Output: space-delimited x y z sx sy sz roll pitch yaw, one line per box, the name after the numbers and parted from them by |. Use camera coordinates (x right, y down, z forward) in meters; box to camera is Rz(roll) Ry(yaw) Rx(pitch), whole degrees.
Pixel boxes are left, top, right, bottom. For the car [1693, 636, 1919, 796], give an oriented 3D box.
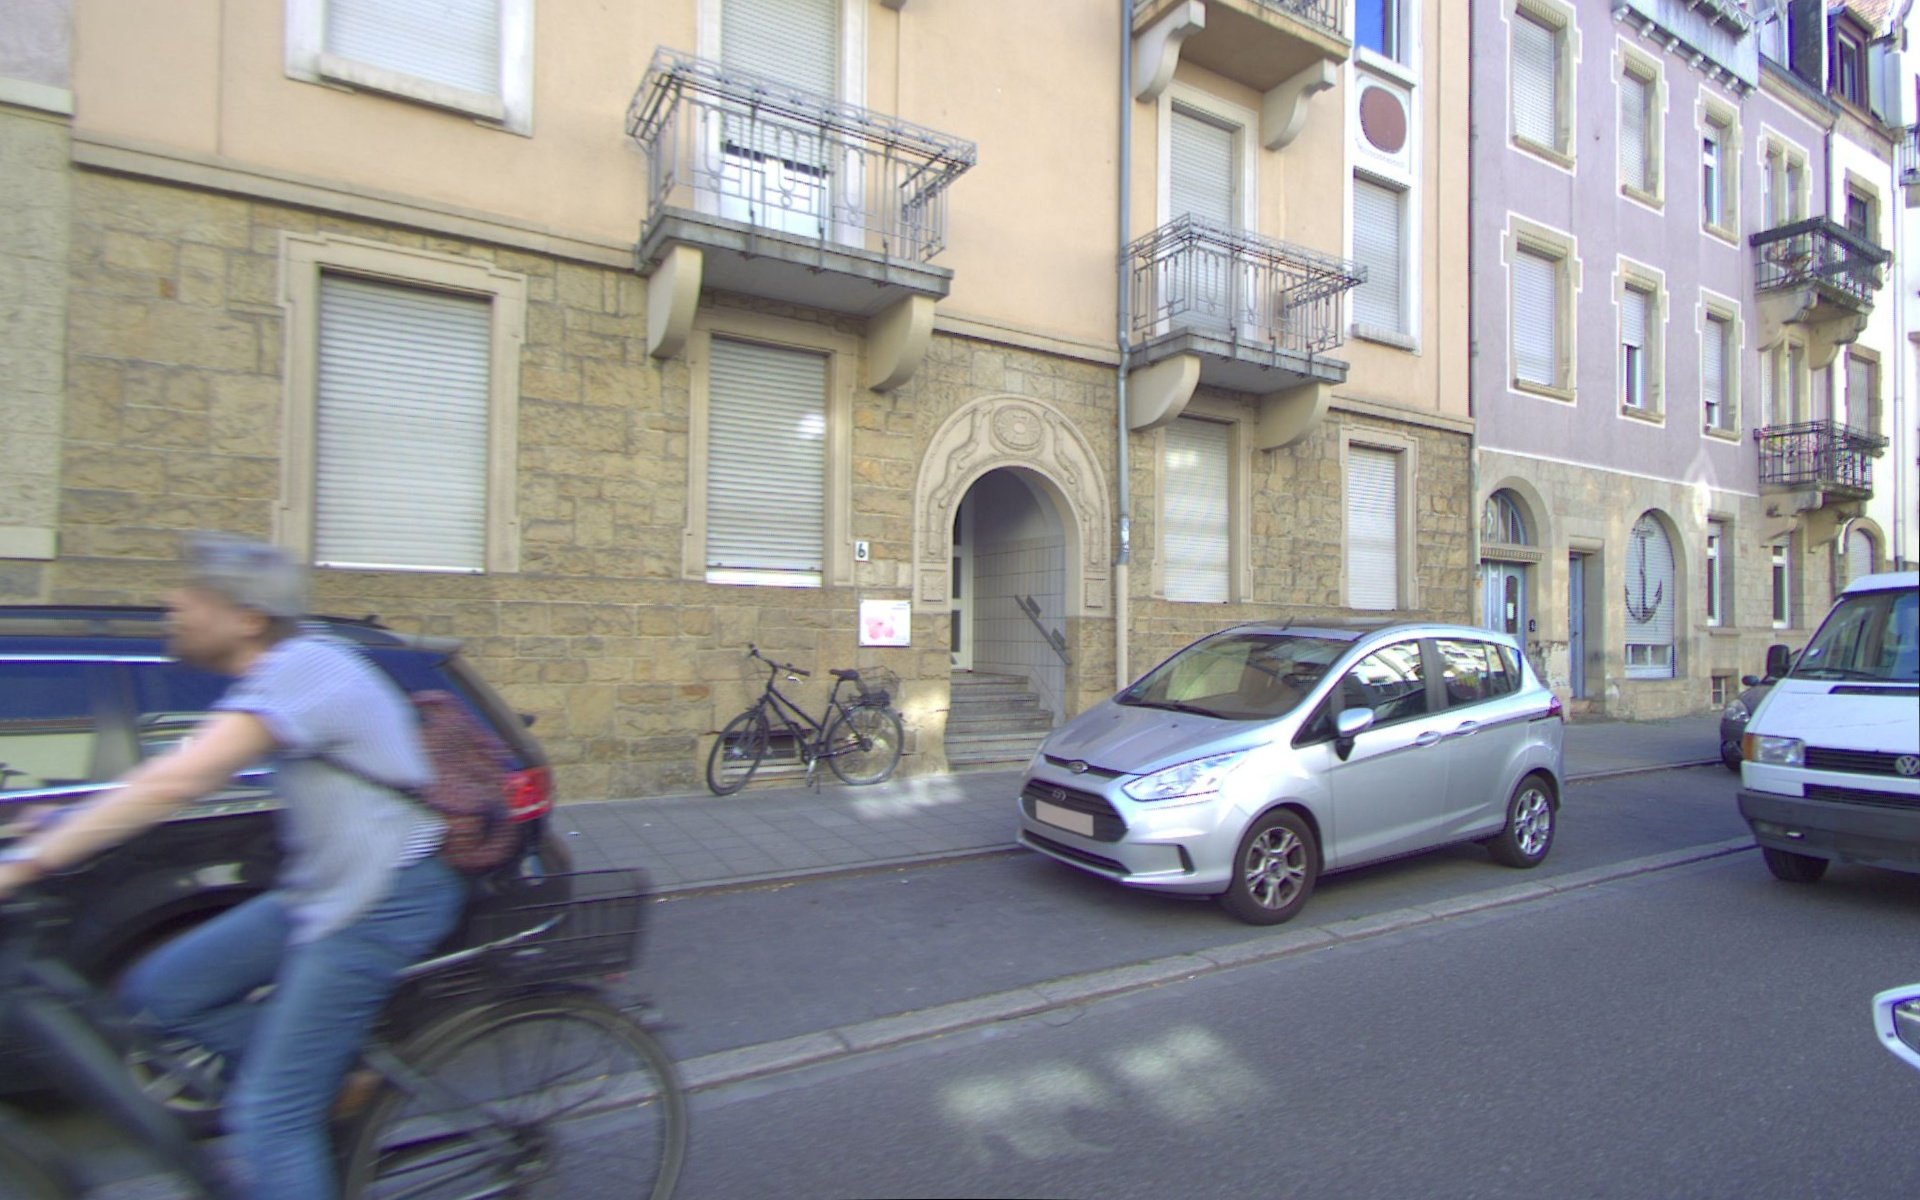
10.006 1.166 11.147 3.623 1.412 1.664 1 1 -30 | car

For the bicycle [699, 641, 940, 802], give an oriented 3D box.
-1.134 0.941 8.250 1.829 1.187 0.696 1 -1 -29 | bicycle

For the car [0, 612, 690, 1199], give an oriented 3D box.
-3.129 0.827 3.246 4.063 1.541 1.706 1 -3 -31 | car

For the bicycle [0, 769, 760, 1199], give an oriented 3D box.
-1.333 0.964 1.947 1.778 1.090 0.538 1 -2 -29 | bicycle

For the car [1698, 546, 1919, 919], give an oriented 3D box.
6.969 0.745 6.529 4.545 1.962 1.855 1 -2 -30 | car

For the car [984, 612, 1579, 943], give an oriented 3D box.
2.147 0.884 6.469 3.682 1.558 1.705 1 -1 -32 | car

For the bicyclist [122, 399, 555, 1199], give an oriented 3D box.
-1.199 0.533 2.019 0.624 1.687 0.605 1 -2 -30 | bicyclist
